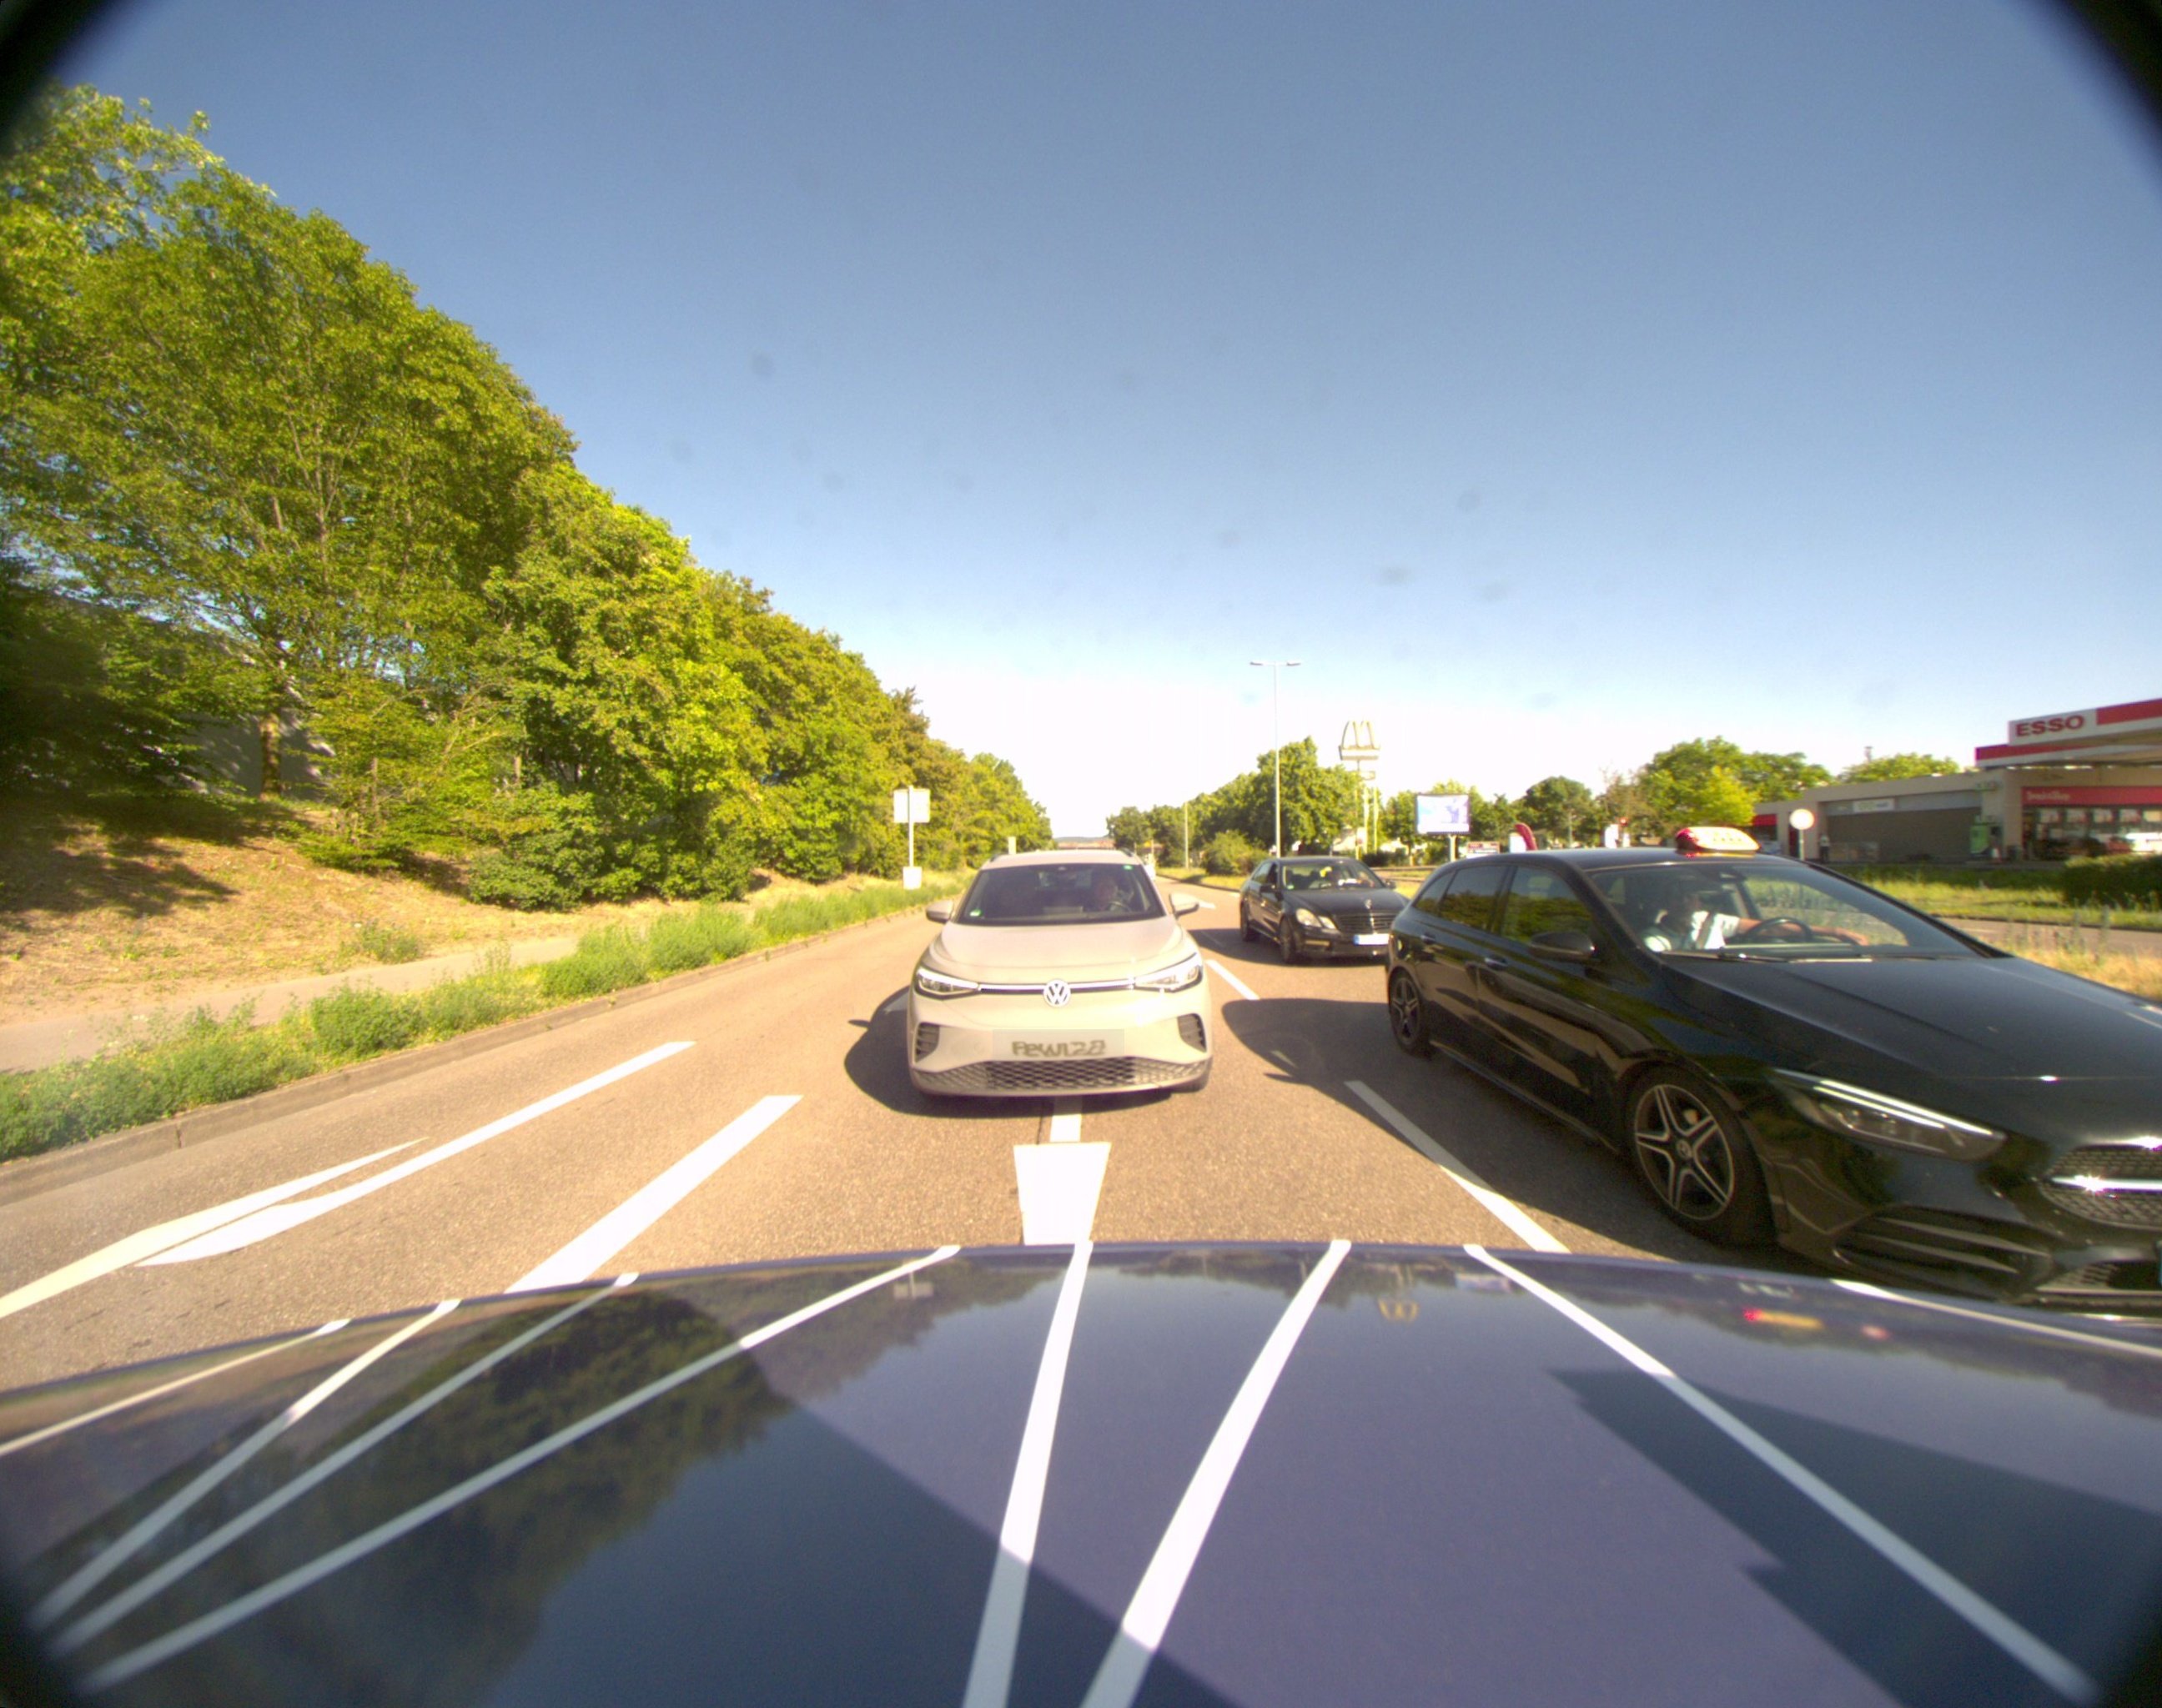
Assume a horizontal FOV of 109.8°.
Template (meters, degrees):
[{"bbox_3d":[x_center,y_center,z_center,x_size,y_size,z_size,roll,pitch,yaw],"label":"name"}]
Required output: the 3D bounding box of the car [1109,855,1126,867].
[{"bbox_3d":[4.468,0.870,92.975,1.998,1.433,4.000,-1,0,1],"label":"car"}]

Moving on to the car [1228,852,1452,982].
[{"bbox_3d":[3.669,0.783,11.726,1.953,1.501,4.462,-2,1,1],"label":"car"}]

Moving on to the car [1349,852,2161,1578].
[{"bbox_3d":[3.139,0.814,4.005,1.788,1.592,4.583,-2,0,0],"label":"car"}]

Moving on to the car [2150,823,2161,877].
[{"bbox_3d":[35.728,-0.173,22.587,1.807,1.716,4.322,-4,0,2],"label":"car"}]

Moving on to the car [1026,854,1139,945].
[{"bbox_3d":[0.050,0.837,16.074,2.036,1.601,4.098,-2,0,1],"label":"car"}]

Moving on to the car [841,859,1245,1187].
[{"bbox_3d":[-0.172,0.888,5.970,2.025,1.601,4.098,-2,0,1],"label":"car"}]

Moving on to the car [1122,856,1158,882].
[{"bbox_3d":[3.668,0.928,48.008,1.998,1.434,4.000,-2,1,2],"label":"car"}]

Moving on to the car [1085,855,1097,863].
[{"bbox_3d":[1.824,0.911,138.297,1.998,1.433,4.000,-1,0,1],"label":"car"}]
